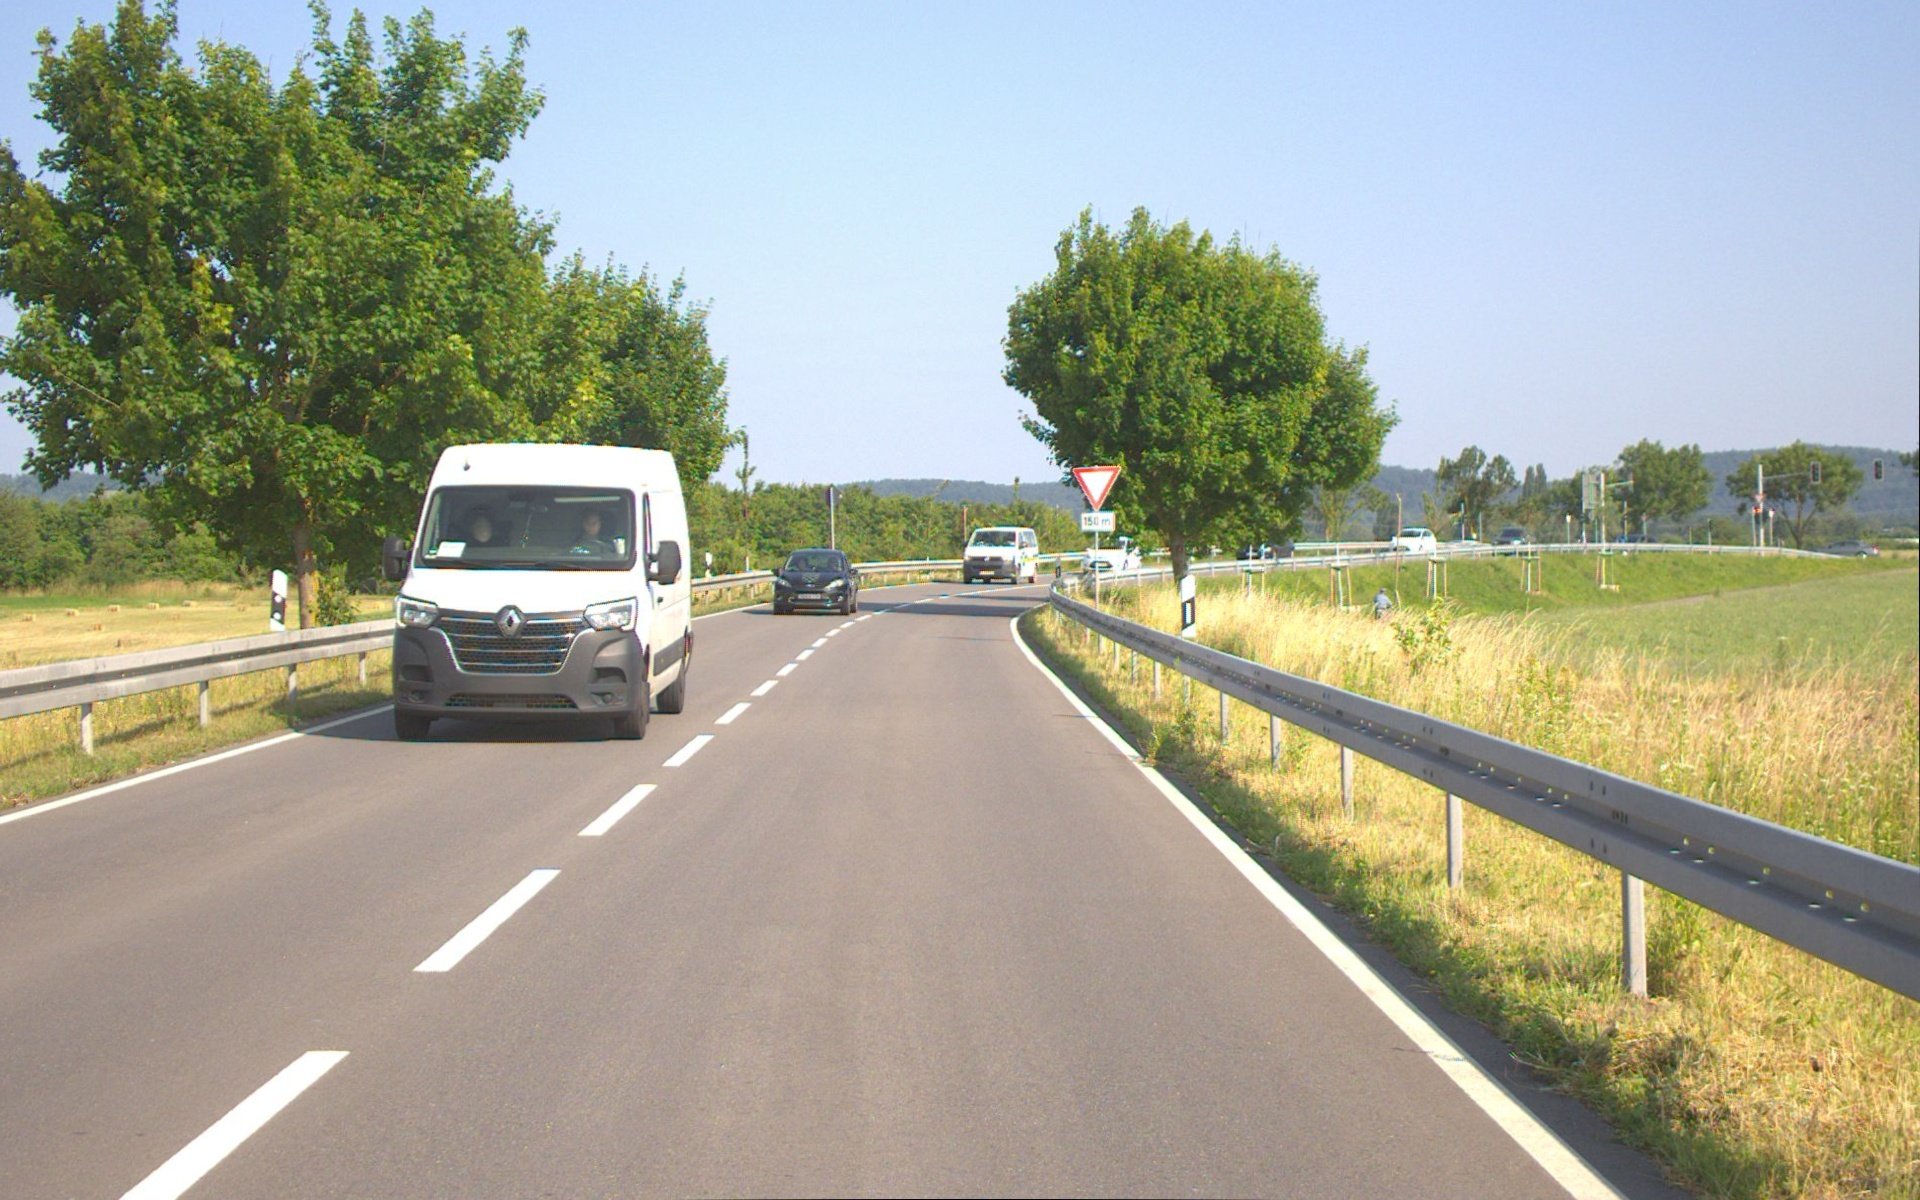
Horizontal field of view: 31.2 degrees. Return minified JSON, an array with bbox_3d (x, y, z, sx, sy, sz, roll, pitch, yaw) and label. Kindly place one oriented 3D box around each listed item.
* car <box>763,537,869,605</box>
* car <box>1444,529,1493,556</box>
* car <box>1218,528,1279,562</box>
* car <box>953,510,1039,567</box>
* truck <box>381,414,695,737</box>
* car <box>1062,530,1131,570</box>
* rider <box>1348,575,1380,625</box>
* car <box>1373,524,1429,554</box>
[{"bbox_3d":[-3.185,-0.656,76.748,1.645,1.466,3.805,1,1,9],"label":"car"},{"bbox_3d":[30.030,-3.399,203.011,1.995,1.527,4.587,1,1,19],"label":"car"},{"bbox_3d":[13.403,-2.546,159.604,1.995,1.527,4.588,1,1,15],"label":"car"},{"bbox_3d":[1.268,-2.090,117.536,1.995,1.878,4.589,1,1,13],"label":"car"},{"bbox_3d":[-3.524,-0.240,29.893,1.993,2.511,6.244,0,1,0],"label":"truck"},{"bbox_3d":[5.420,-1.999,136.408,1.903,1.527,4.589,1,1,13],"label":"car"},{"bbox_3d":[12.671,0.004,107.879,0.609,1.522,1.824,1,0,19],"label":"rider"},{"bbox_3d":[23.325,-3.198,181.601,1.995,1.527,4.587,1,1,19],"label":"car"}]
